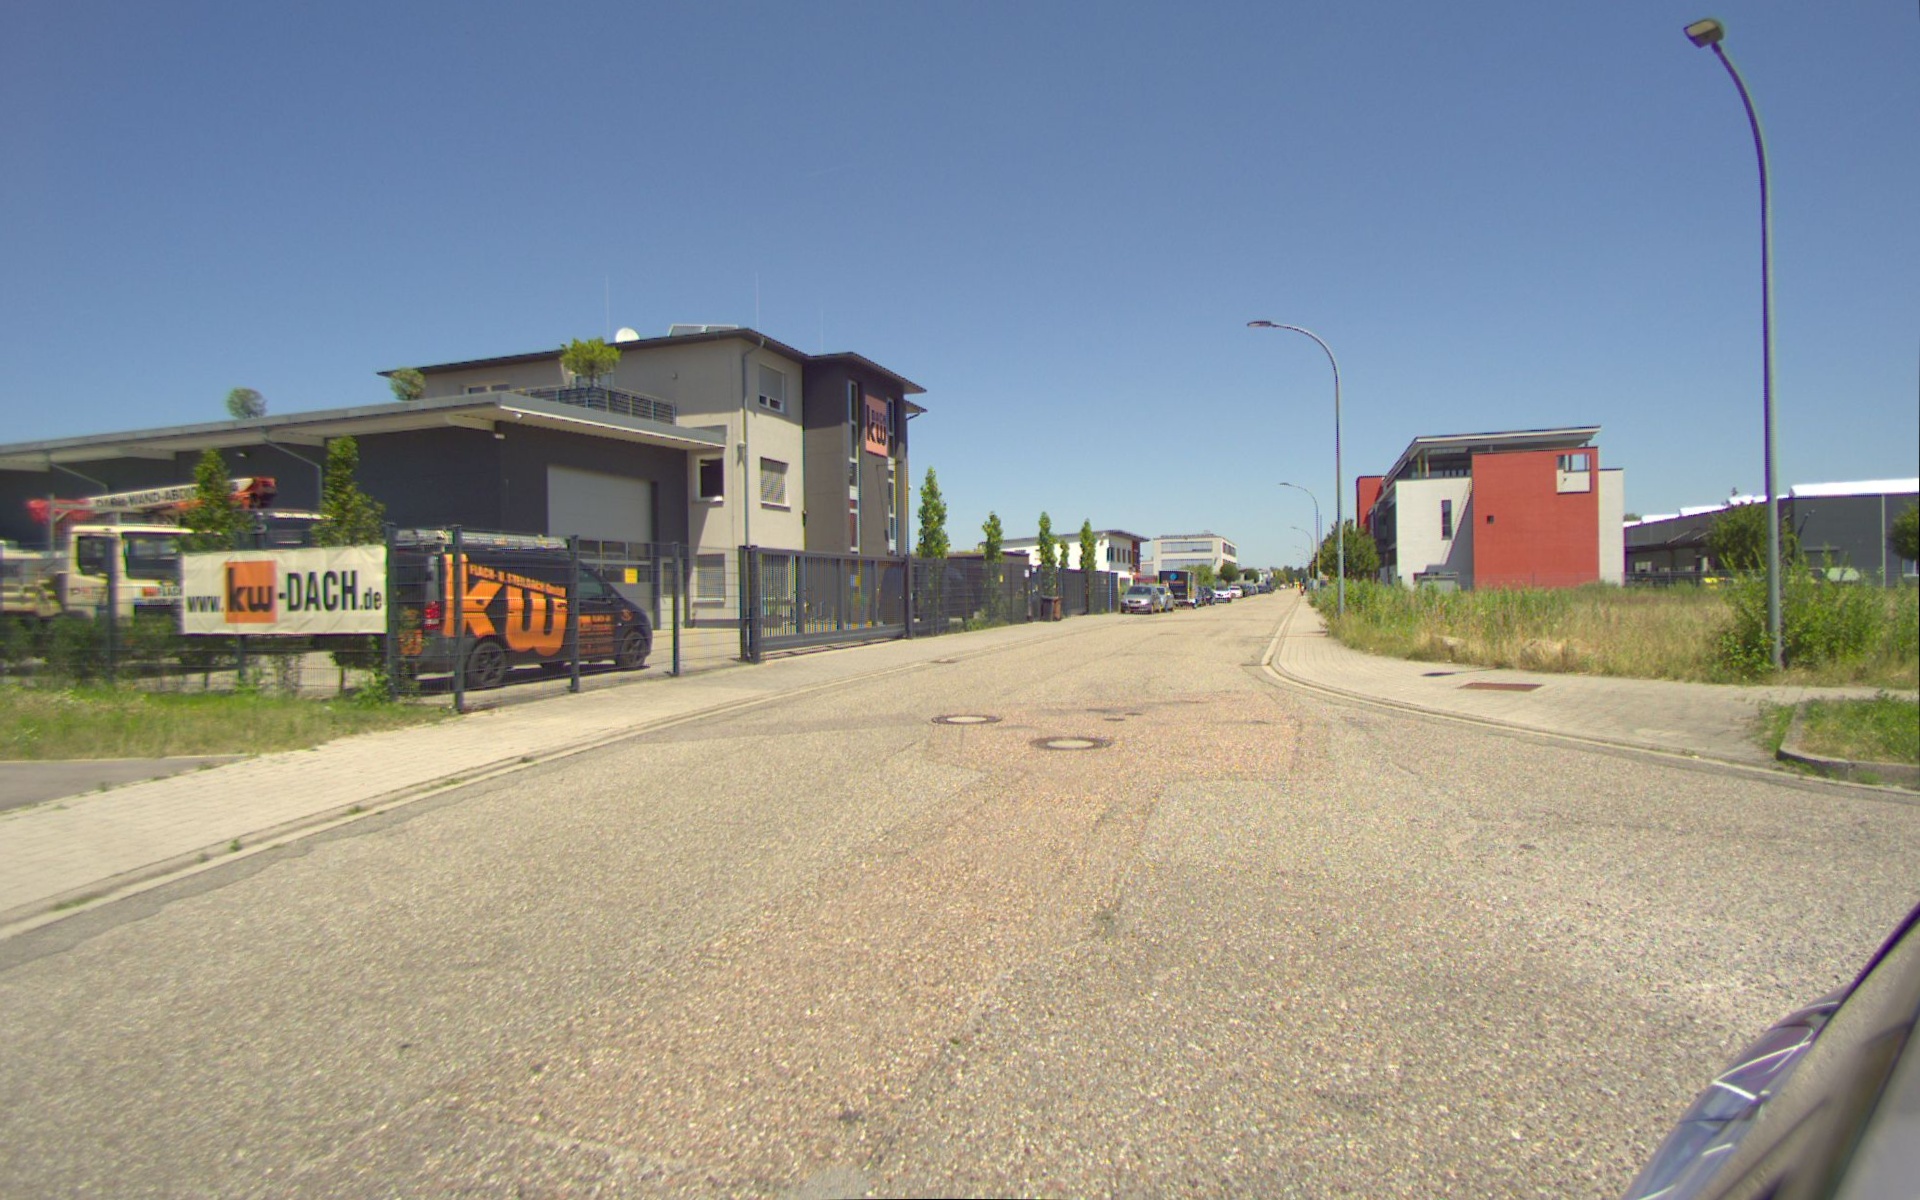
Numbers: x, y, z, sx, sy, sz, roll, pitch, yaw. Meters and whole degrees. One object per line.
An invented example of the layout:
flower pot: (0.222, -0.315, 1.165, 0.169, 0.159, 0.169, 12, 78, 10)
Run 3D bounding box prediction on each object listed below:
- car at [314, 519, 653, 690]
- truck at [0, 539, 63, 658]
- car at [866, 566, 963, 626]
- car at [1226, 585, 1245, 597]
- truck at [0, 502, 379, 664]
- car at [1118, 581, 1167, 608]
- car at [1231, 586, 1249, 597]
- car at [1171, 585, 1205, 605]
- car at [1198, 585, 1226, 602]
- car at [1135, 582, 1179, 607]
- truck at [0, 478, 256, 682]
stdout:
car: (-6.974, 0.029, 15.500, 1.896, 2.188, 4.751, -2, 1, 19)
truck: (-28.608, 0.090, 27.561, 8.257, 3.060, 2.672, -2, 0, 21)
car: (-1.427, -0.162, 33.448, 1.904, 1.817, 3.977, -1, 1, 18)
car: (33.026, -1.089, 121.265, 1.807, 1.293, 3.861, -1, 1, 20)
truck: (-17.904, -0.272, 23.408, 8.861, 3.216, 2.672, -2, 0, 21)
car: (9.378, -0.307, 51.811, 1.807, 1.293, 3.861, -1, 1, 20)
car: (35.115, -1.105, 126.846, 1.807, 1.293, 3.861, -1, 1, 20)
car: (15.434, -0.344, 68.349, 1.807, 1.293, 3.861, -1, 1, 20)
car: (20.667, -0.530, 82.802, 1.807, 1.293, 3.861, -1, 1, 20)
car: (10.996, -0.316, 56.339, 1.807, 1.293, 3.861, -1, 1, 20)
truck: (-16.636, -0.200, 17.912, 8.257, 3.060, 2.608, -2, 0, 21)
